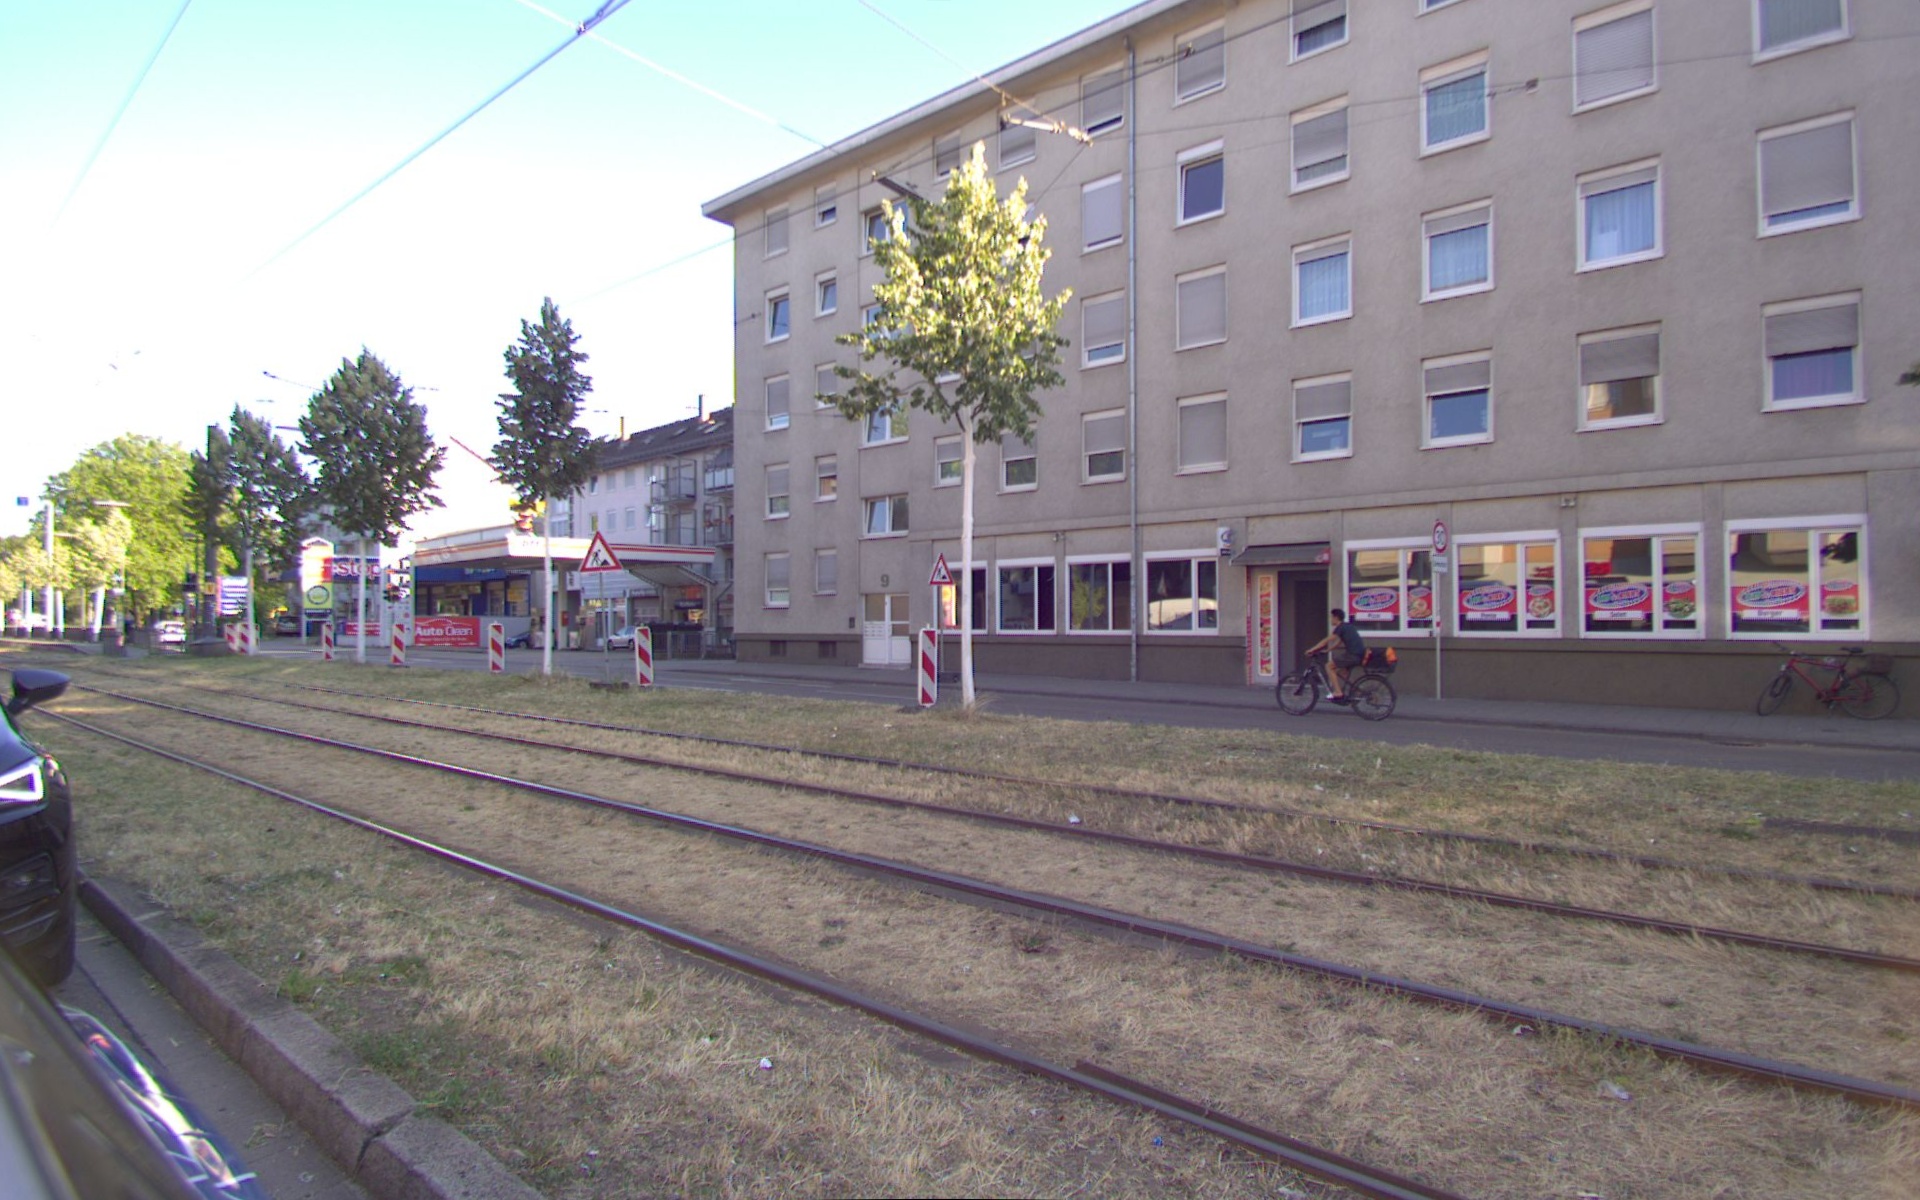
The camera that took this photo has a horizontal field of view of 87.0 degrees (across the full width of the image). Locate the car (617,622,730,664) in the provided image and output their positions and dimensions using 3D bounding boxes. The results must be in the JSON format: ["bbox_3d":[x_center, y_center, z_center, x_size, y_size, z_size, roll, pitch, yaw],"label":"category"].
[{"bbox_3d":[-10.751,1.601,38.101,1.906,1.481,3.680,-4,-4,40],"label":"car"}]

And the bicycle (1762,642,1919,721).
[{"bbox_3d":[12.822,1.157,14.676,1.844,1.031,0.601,-1,0,41],"label":"bicycle"}]

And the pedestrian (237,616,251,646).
[{"bbox_3d":[-47.966,2.059,67.826,0.583,2.029,0.623,-2,-2,42],"label":"pedestrian"}]

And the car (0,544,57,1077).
[{"bbox_3d":[-5.035,0.706,3.978,3.998,1.690,1.752,-2,-1,41],"label":"car"}]

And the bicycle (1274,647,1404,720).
[{"bbox_3d":[5.915,1.284,15.880,1.858,1.052,0.441,-1,-2,38],"label":"bicycle"}]

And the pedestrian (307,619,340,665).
[{"bbox_3d":[-18.383,1.205,29.245,0.581,1.280,0.655,-2,-1,42],"label":"pedestrian"}]

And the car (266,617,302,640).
[{"bbox_3d":[-49.999,2.082,74.789,1.756,1.567,4.006,-1,0,-40],"label":"car"}]

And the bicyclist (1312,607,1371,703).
[{"bbox_3d":[5.973,0.842,15.842,0.649,1.457,0.770,-1,-2,38],"label":"bicyclist"}]

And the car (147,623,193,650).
[{"bbox_3d":[-49.578,2.259,63.474,3.828,1.622,1.701,-1,0,43],"label":"car"}]
